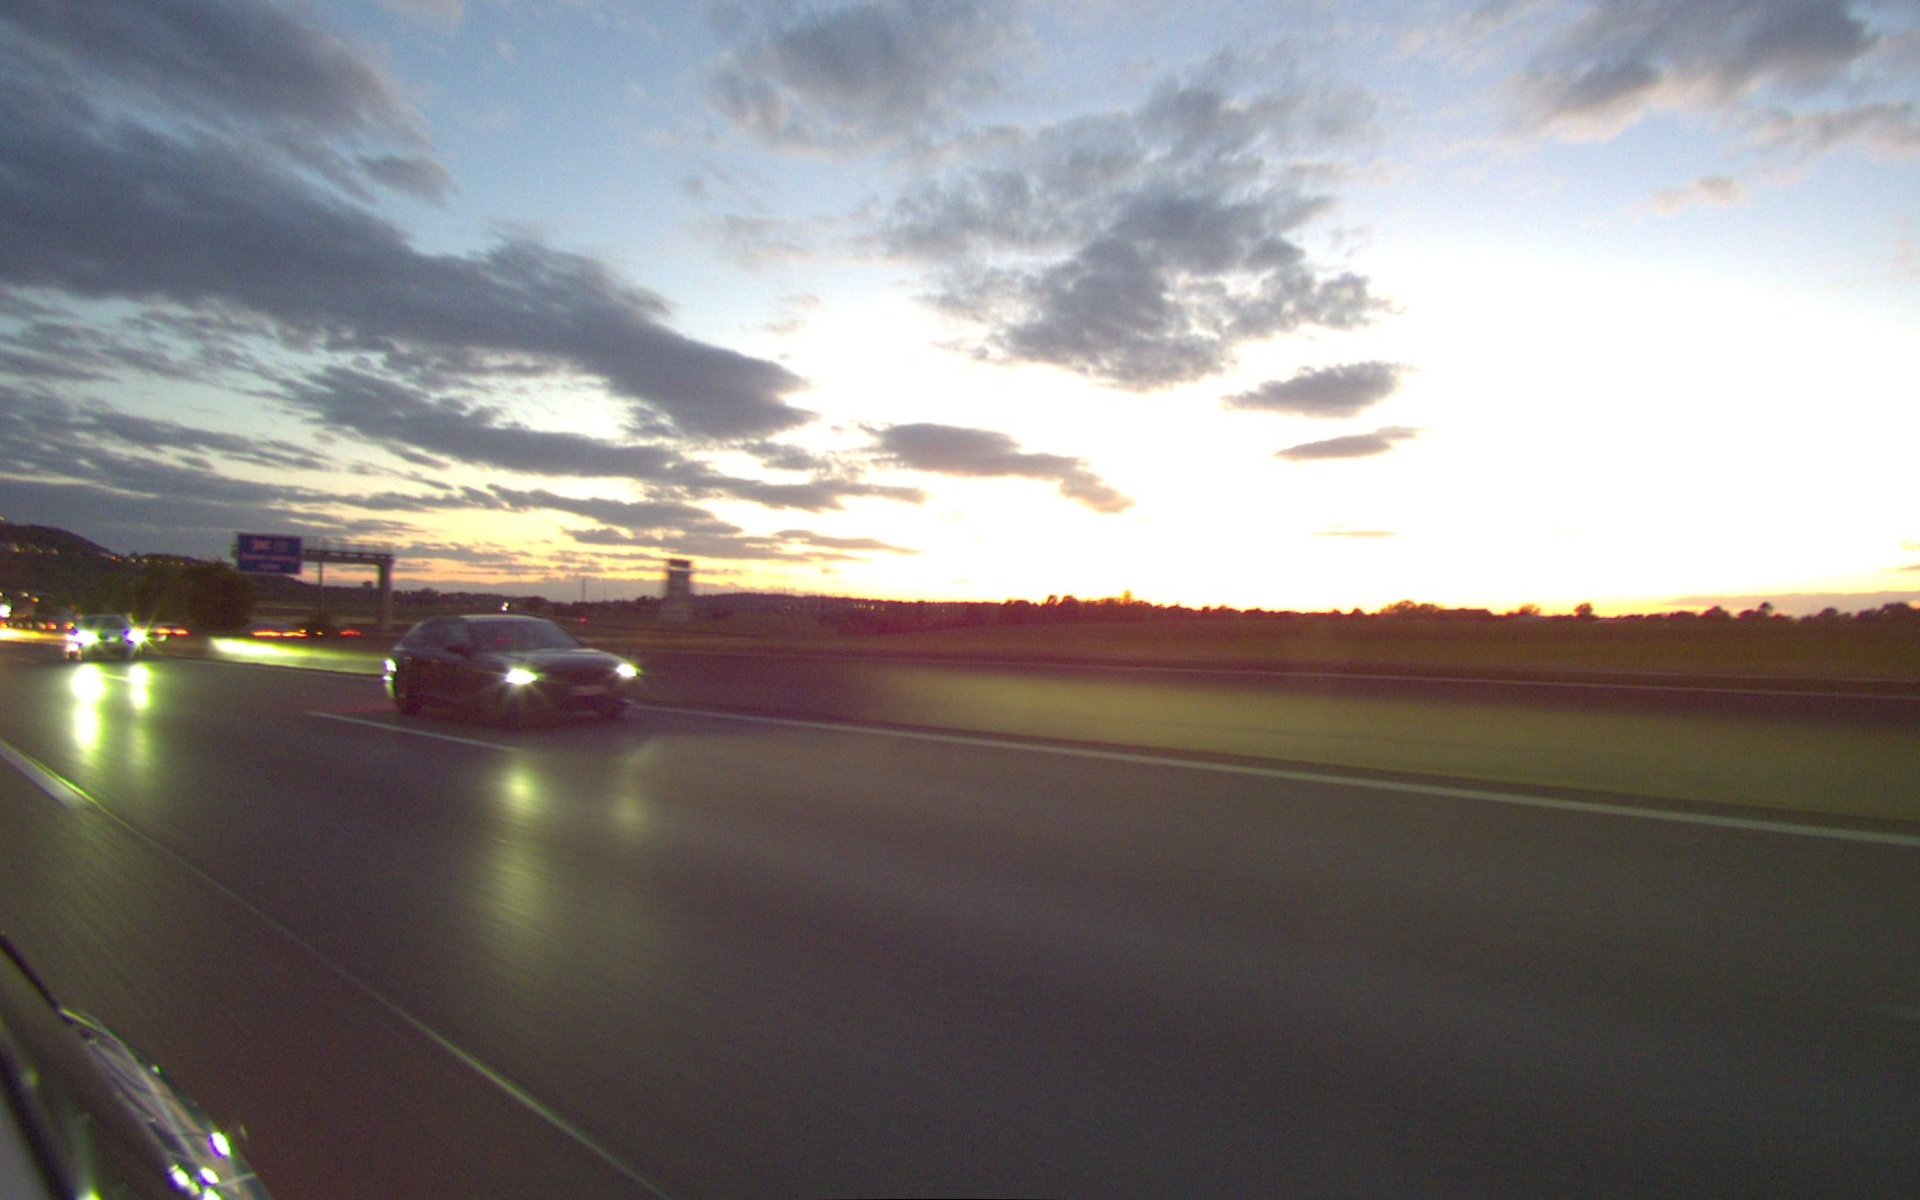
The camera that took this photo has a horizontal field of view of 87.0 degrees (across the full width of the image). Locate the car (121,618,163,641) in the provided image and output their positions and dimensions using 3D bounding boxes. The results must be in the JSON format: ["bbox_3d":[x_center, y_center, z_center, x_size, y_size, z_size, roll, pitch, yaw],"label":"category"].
[{"bbox_3d":[-56.976,2.025,70.473,3.998,1.464,1.627,-1,0,41],"label":"car"}]

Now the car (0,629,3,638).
[{"bbox_3d":[-158.695,5.478,166.066,4.657,1.423,1.972,-1,0,42],"label":"car"}]

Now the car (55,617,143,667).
[{"bbox_3d":[-31.636,1.476,37.137,4.854,1.660,1.795,-1,0,41],"label":"car"}]

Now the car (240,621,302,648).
[{"bbox_3d":[-34.646,1.694,50.843,3.998,1.227,1.648,-1,0,41],"label":"car"}]

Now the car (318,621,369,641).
[{"bbox_3d":[-38.829,1.922,63.684,3.998,1.189,1.648,-1,0,41],"label":"car"}]

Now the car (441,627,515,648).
[{"bbox_3d":[-20.732,1.599,43.480,4.414,0.800,1.229,-1,0,41],"label":"car"}]

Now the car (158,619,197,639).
[{"bbox_3d":[-64.163,2.345,82.999,4.885,1.534,1.642,-1,0,41],"label":"car"}]

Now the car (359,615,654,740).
[{"bbox_3d":[-6.673,0.966,14.530,5.392,1.448,1.795,-1,0,41],"label":"car"}]

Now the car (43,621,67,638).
[{"bbox_3d":[-131.163,4.240,146.596,5.834,2.405,1.972,-1,0,42],"label":"car"}]
